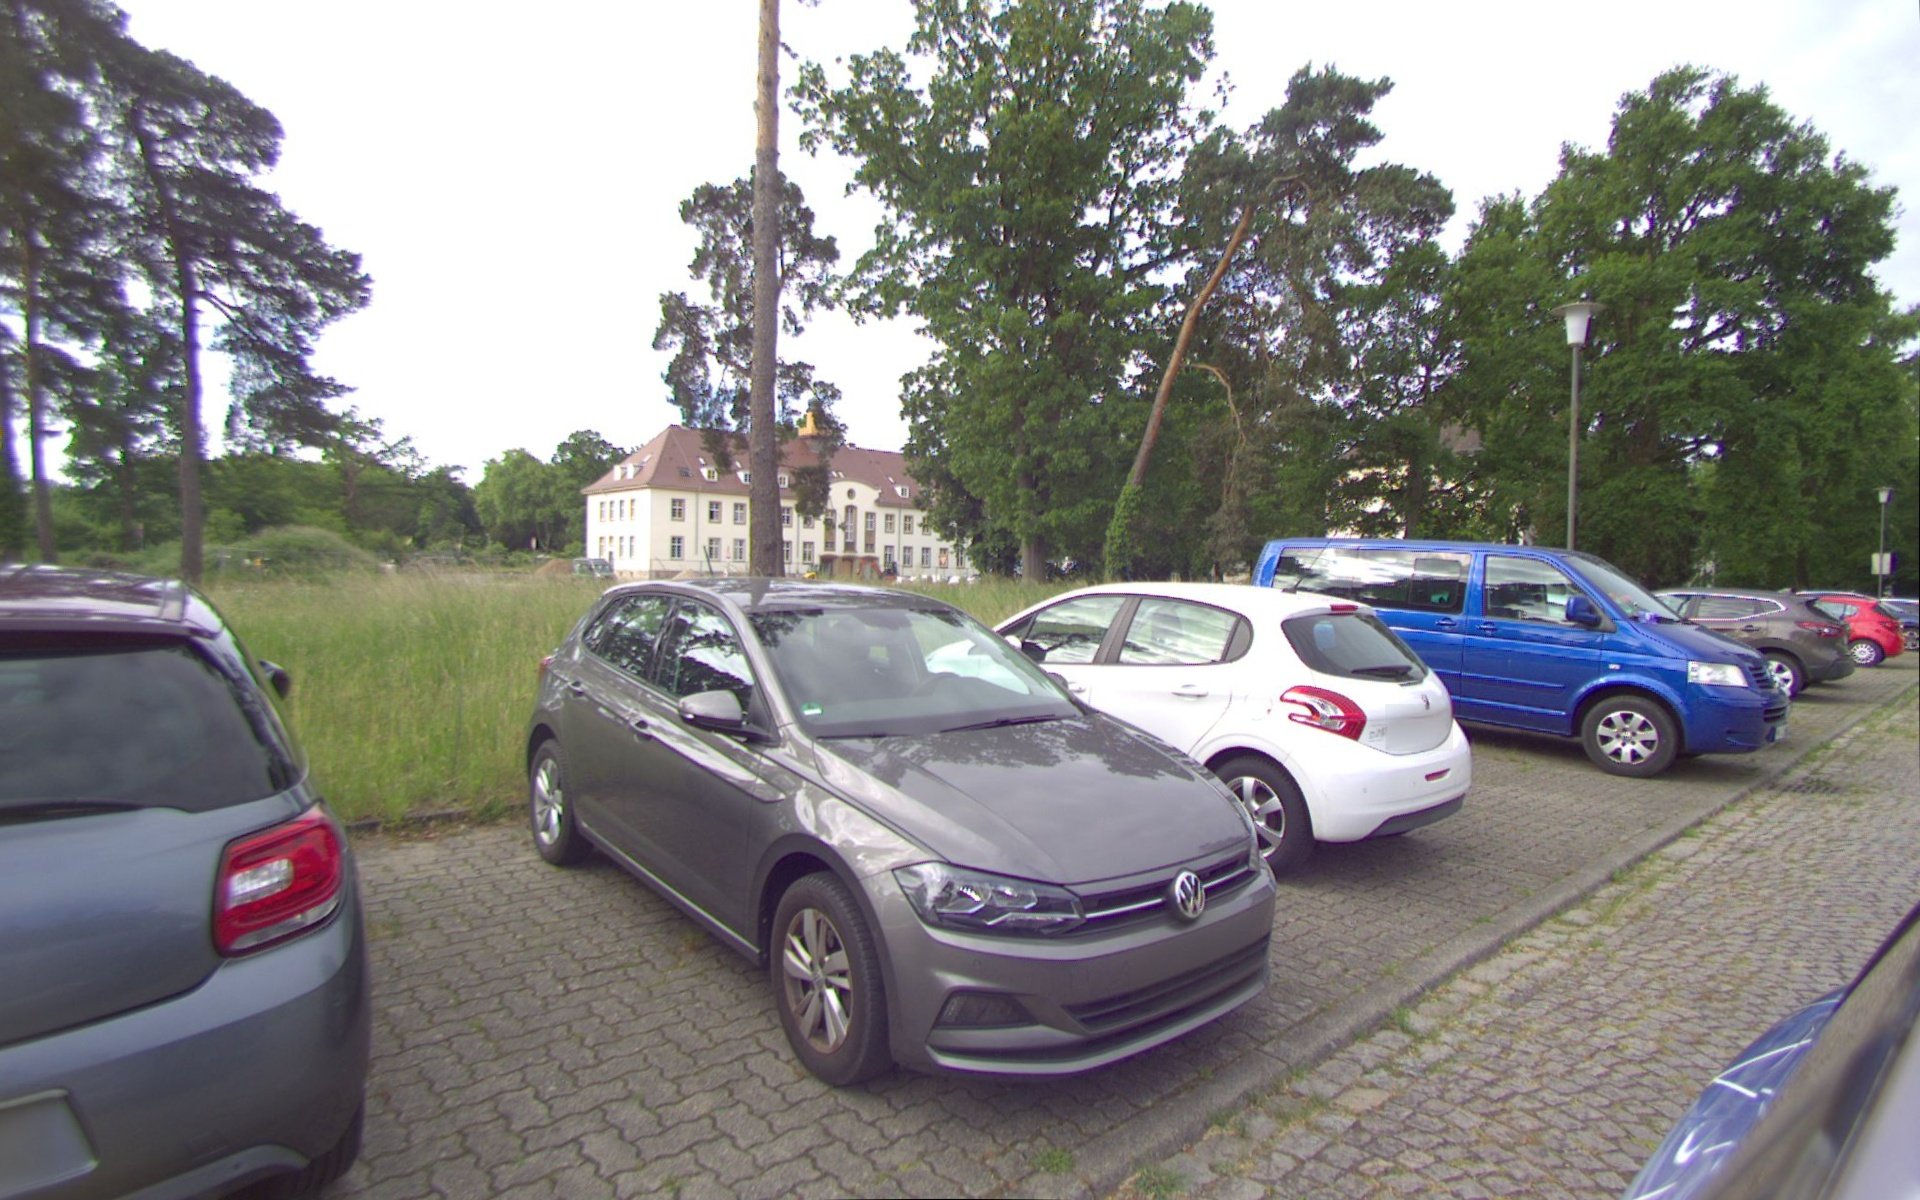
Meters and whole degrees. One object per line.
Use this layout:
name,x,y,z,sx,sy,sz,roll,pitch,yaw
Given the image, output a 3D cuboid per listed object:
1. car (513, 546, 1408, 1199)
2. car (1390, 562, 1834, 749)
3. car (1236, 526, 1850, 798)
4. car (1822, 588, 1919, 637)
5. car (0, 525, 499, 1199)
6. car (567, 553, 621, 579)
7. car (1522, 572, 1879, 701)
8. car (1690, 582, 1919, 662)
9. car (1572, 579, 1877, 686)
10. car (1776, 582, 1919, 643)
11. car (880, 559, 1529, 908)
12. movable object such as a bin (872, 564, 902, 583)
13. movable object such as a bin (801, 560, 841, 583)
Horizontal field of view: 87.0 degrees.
car,-0.394,0.589,4.396,1.728,1.490,3.870,0,4,-41
car,7.307,0.474,11.627,1.810,1.489,3.871,0,6,-43
car,5.403,0.336,9.980,1.969,1.969,4.816,0,4,-42
car,30.236,0.421,32.356,1.556,1.443,3.874,0,3,-42
car,-2.895,0.548,2.919,1.728,1.490,3.869,0,4,-43
car,-34.717,-3.226,95.903,5.847,2.268,2.283,4,3,42
car,11.597,0.450,16.083,1.791,1.618,4.267,0,3,-43
car,19.073,0.422,22.876,1.556,1.477,3.891,0,3,-42
car,13.467,0.478,18.016,1.735,1.504,4.015,0,3,-41
car,26.620,0.365,29.536,1.556,1.557,4.146,0,3,-42
car,1.322,0.560,6.717,1.727,1.490,3.872,0,4,-40
movable object such as a bin,-8.180,-2.982,113.418,2.933,2.038,1.552,0,2,-41
movable object such as a bin,-12.713,-2.609,92.665,3.181,2.038,1.682,0,1,-34
